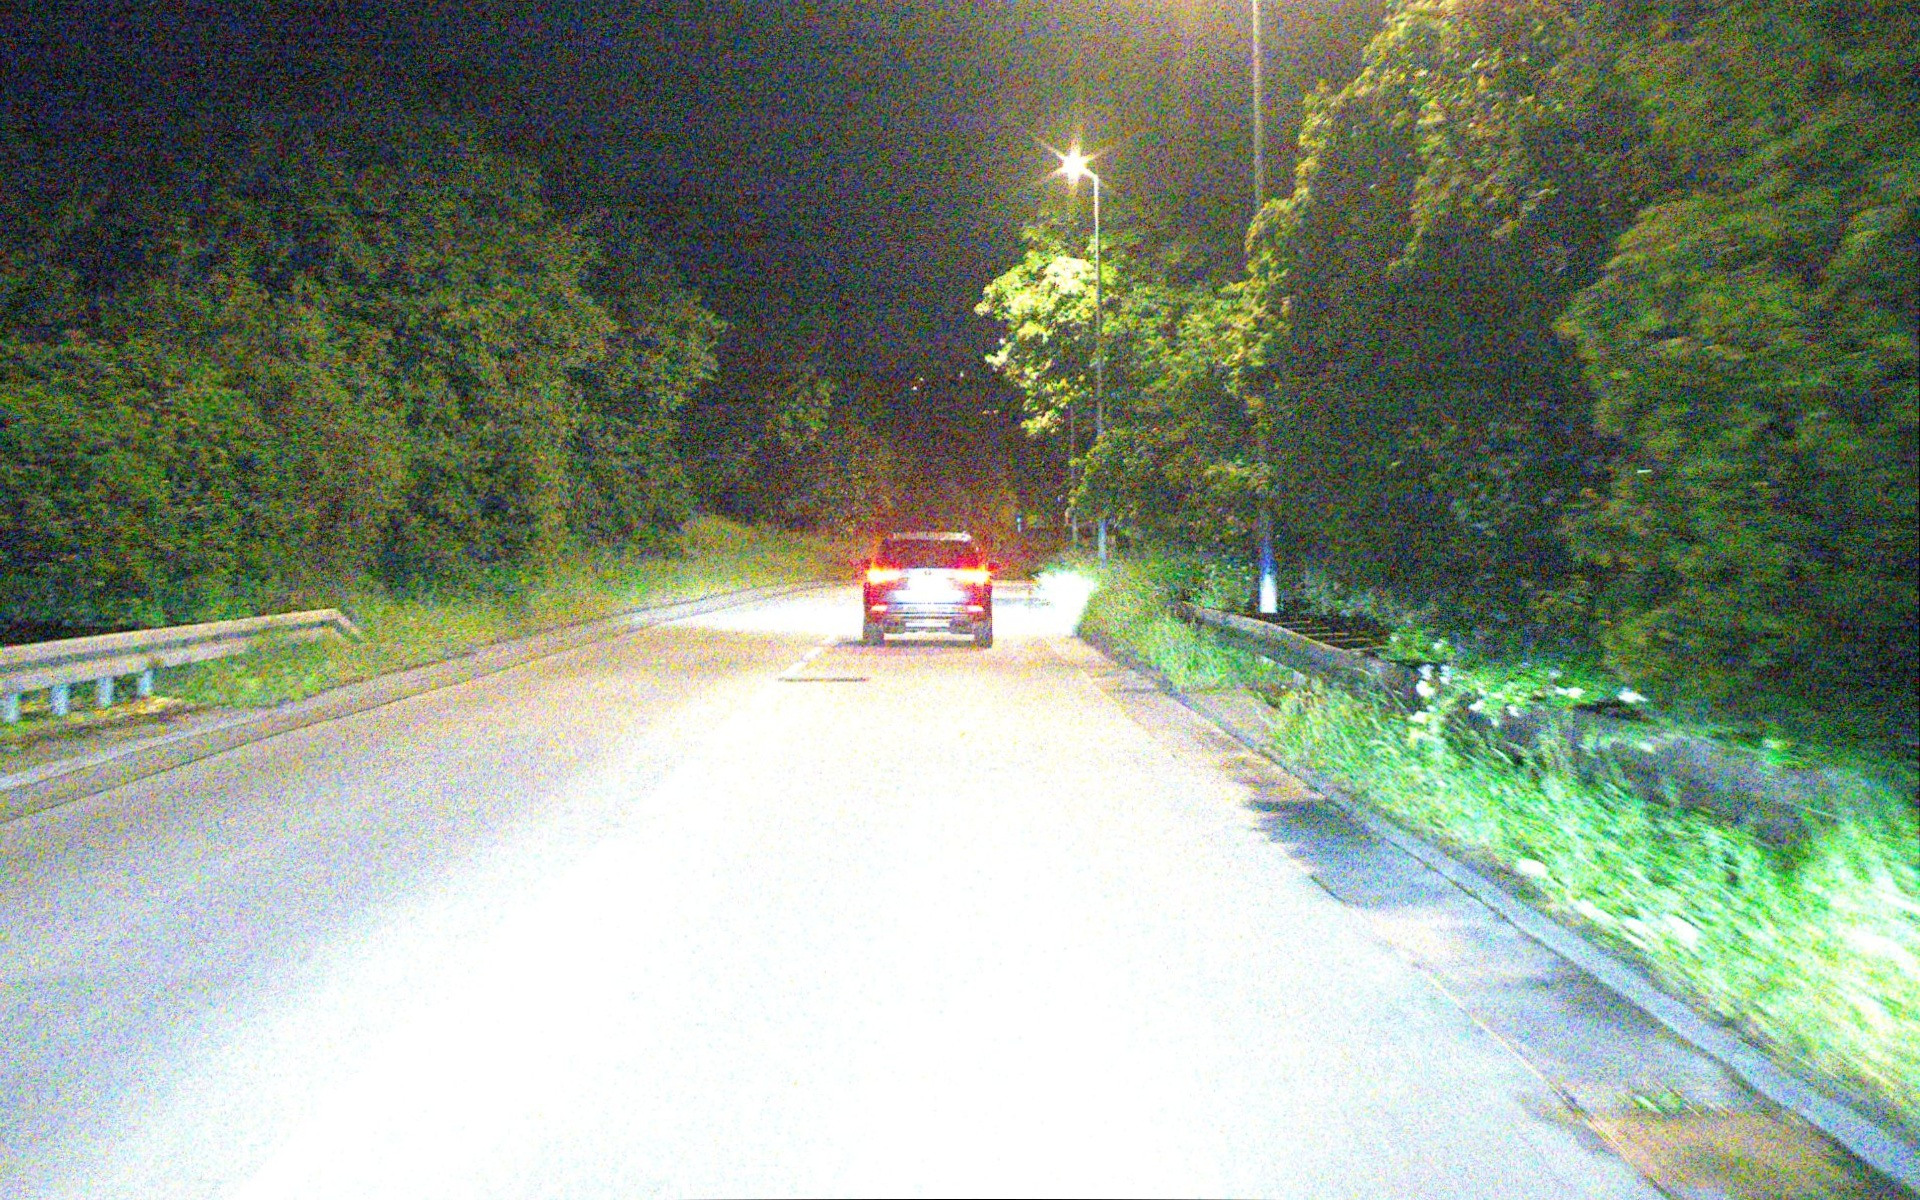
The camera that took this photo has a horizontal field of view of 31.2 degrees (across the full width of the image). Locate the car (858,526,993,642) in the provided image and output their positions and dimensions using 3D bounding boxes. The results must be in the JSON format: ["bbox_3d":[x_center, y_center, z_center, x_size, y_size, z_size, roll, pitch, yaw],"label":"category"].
[{"bbox_3d":[-0.516,-0.256,48.633,1.814,1.568,3.944,0,1,-1],"label":"car"}]
